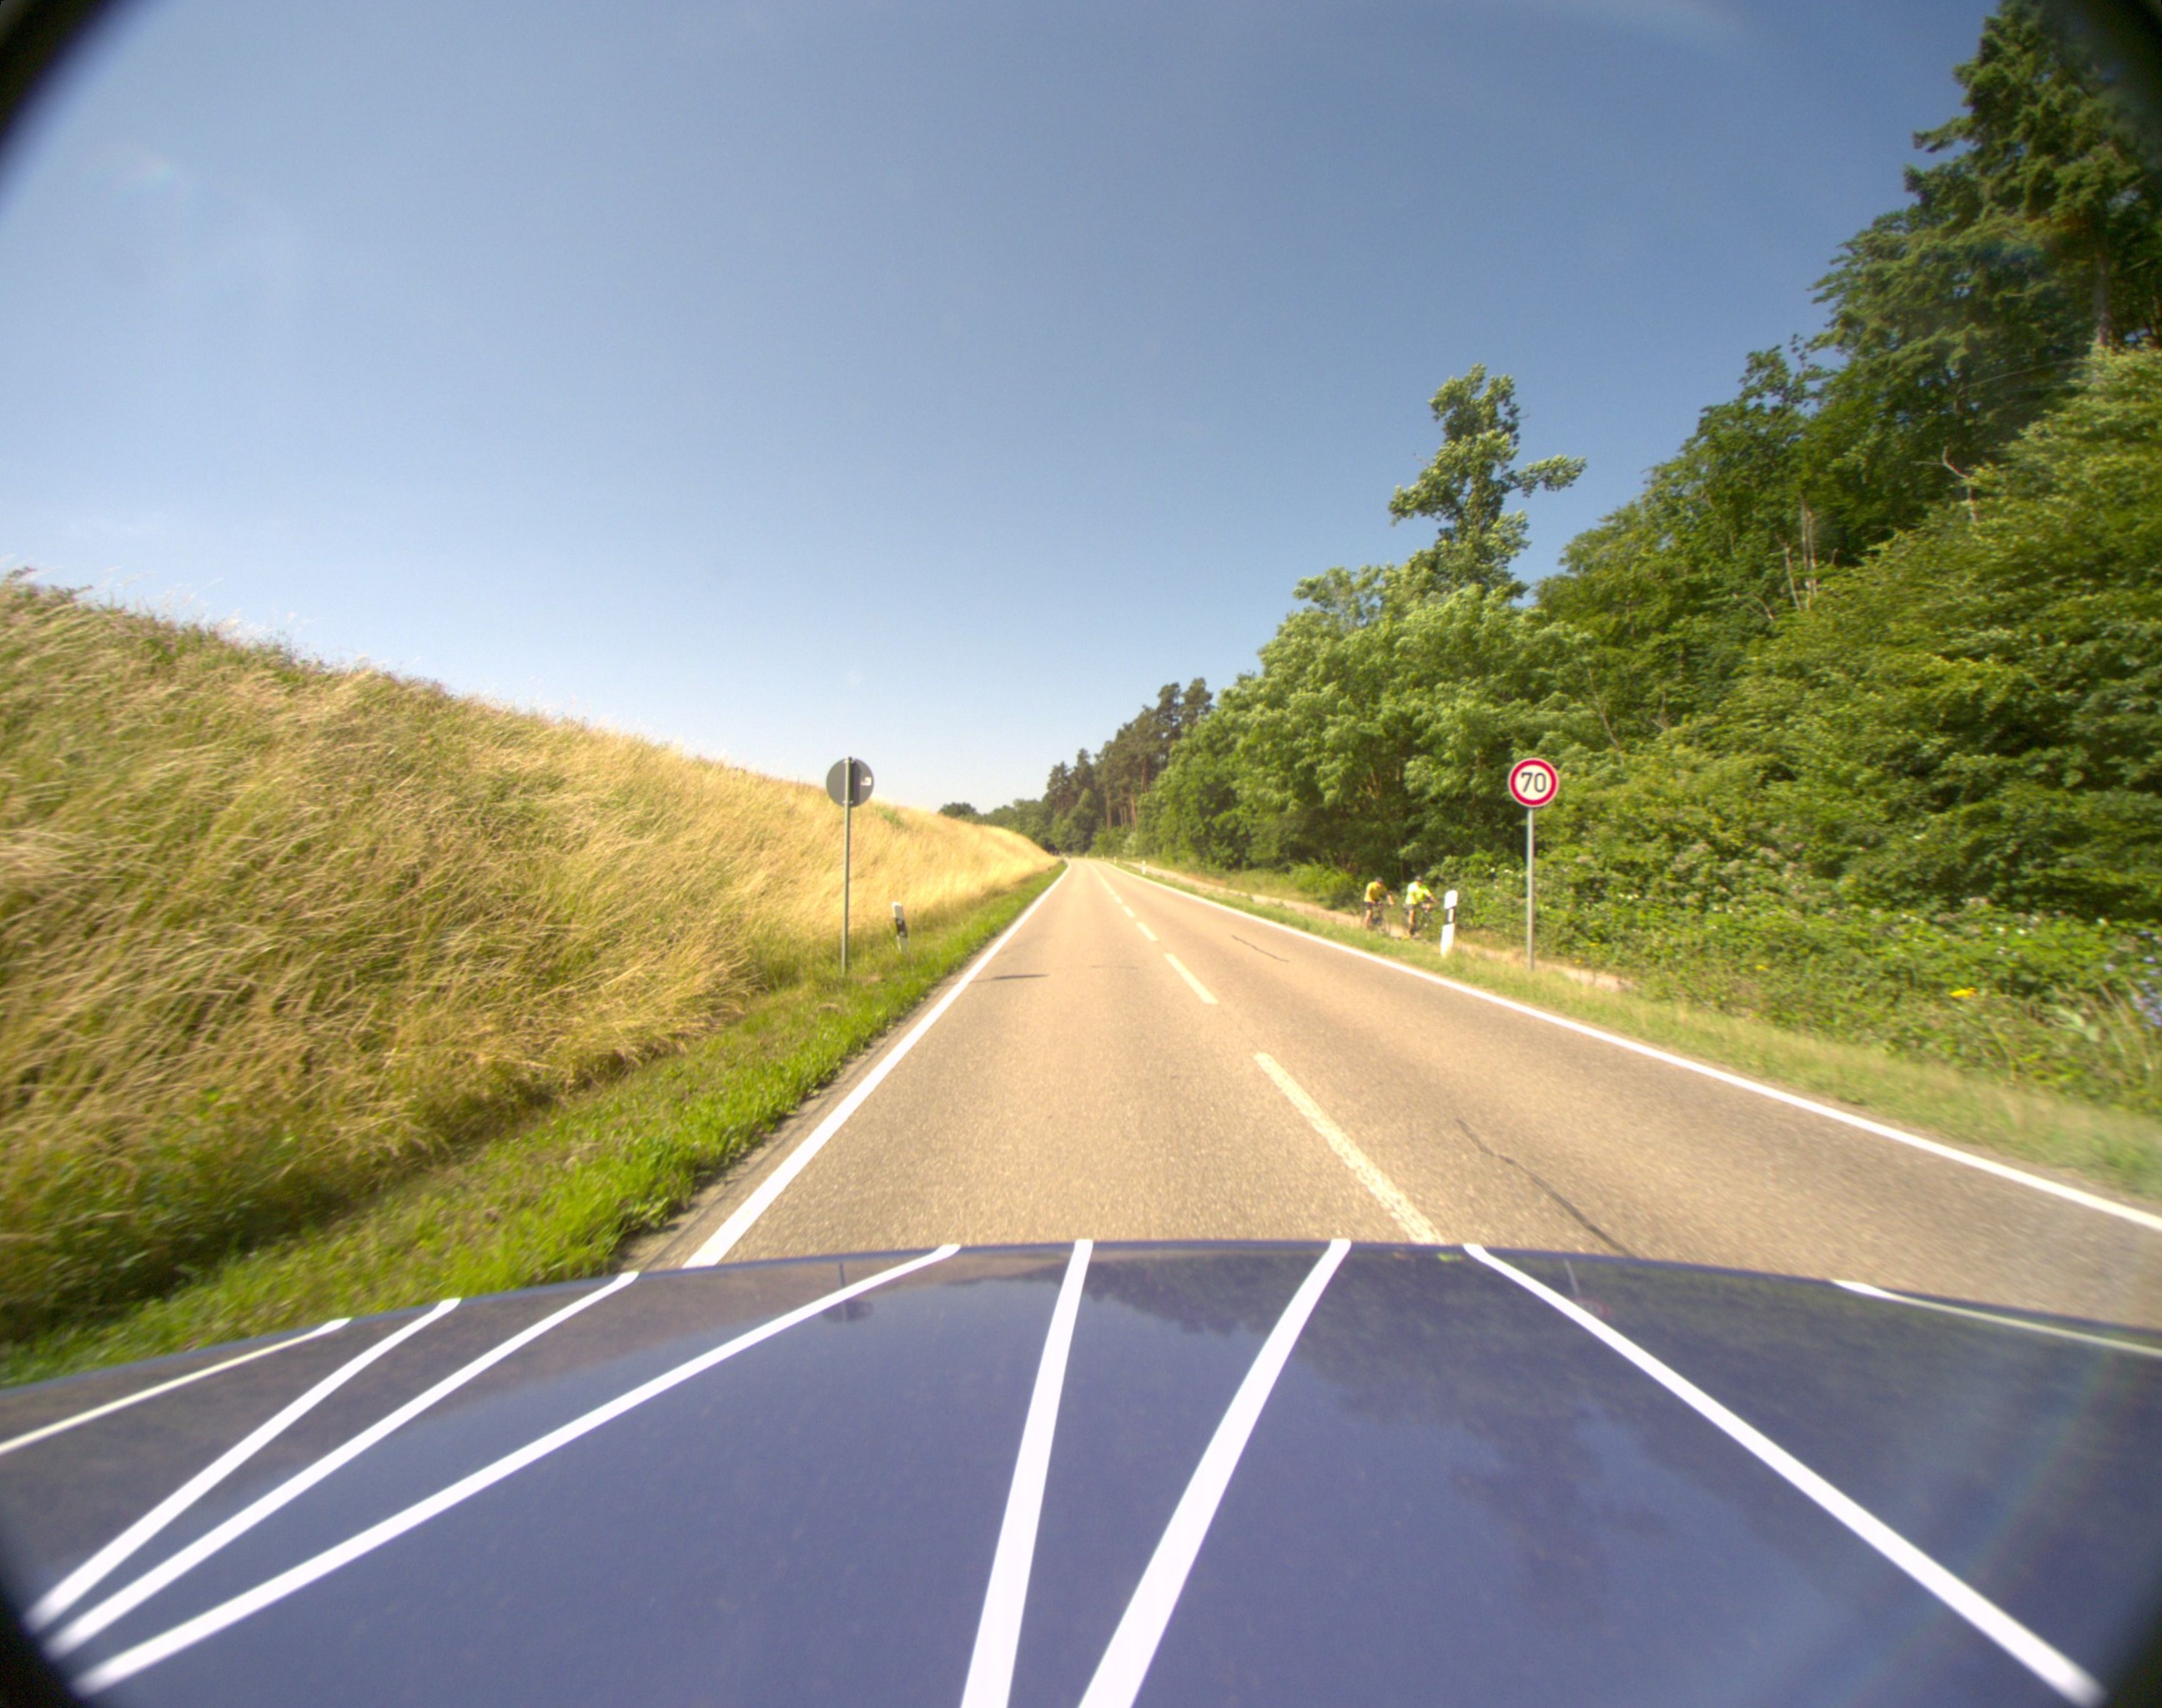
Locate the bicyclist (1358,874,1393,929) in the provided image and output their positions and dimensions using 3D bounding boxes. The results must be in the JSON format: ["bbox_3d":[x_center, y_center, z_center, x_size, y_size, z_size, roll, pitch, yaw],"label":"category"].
[{"bbox_3d":[8.001,1.279,20.657,0.606,1.407,0.702,2,1,0],"label":"bicyclist"}]

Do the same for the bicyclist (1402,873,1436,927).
[{"bbox_3d":[9.287,1.254,20.883,0.606,1.408,0.702,-3,3,0],"label":"bicyclist"}]

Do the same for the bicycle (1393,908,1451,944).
[{"bbox_3d":[9.328,1.958,20.847,0.620,0.677,2.136,-3,2,0],"label":"bicycle"}]

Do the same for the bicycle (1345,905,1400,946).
[{"bbox_3d":[7.921,1.924,20.752,0.641,0.784,2.135,2,3,0],"label":"bicycle"}]
